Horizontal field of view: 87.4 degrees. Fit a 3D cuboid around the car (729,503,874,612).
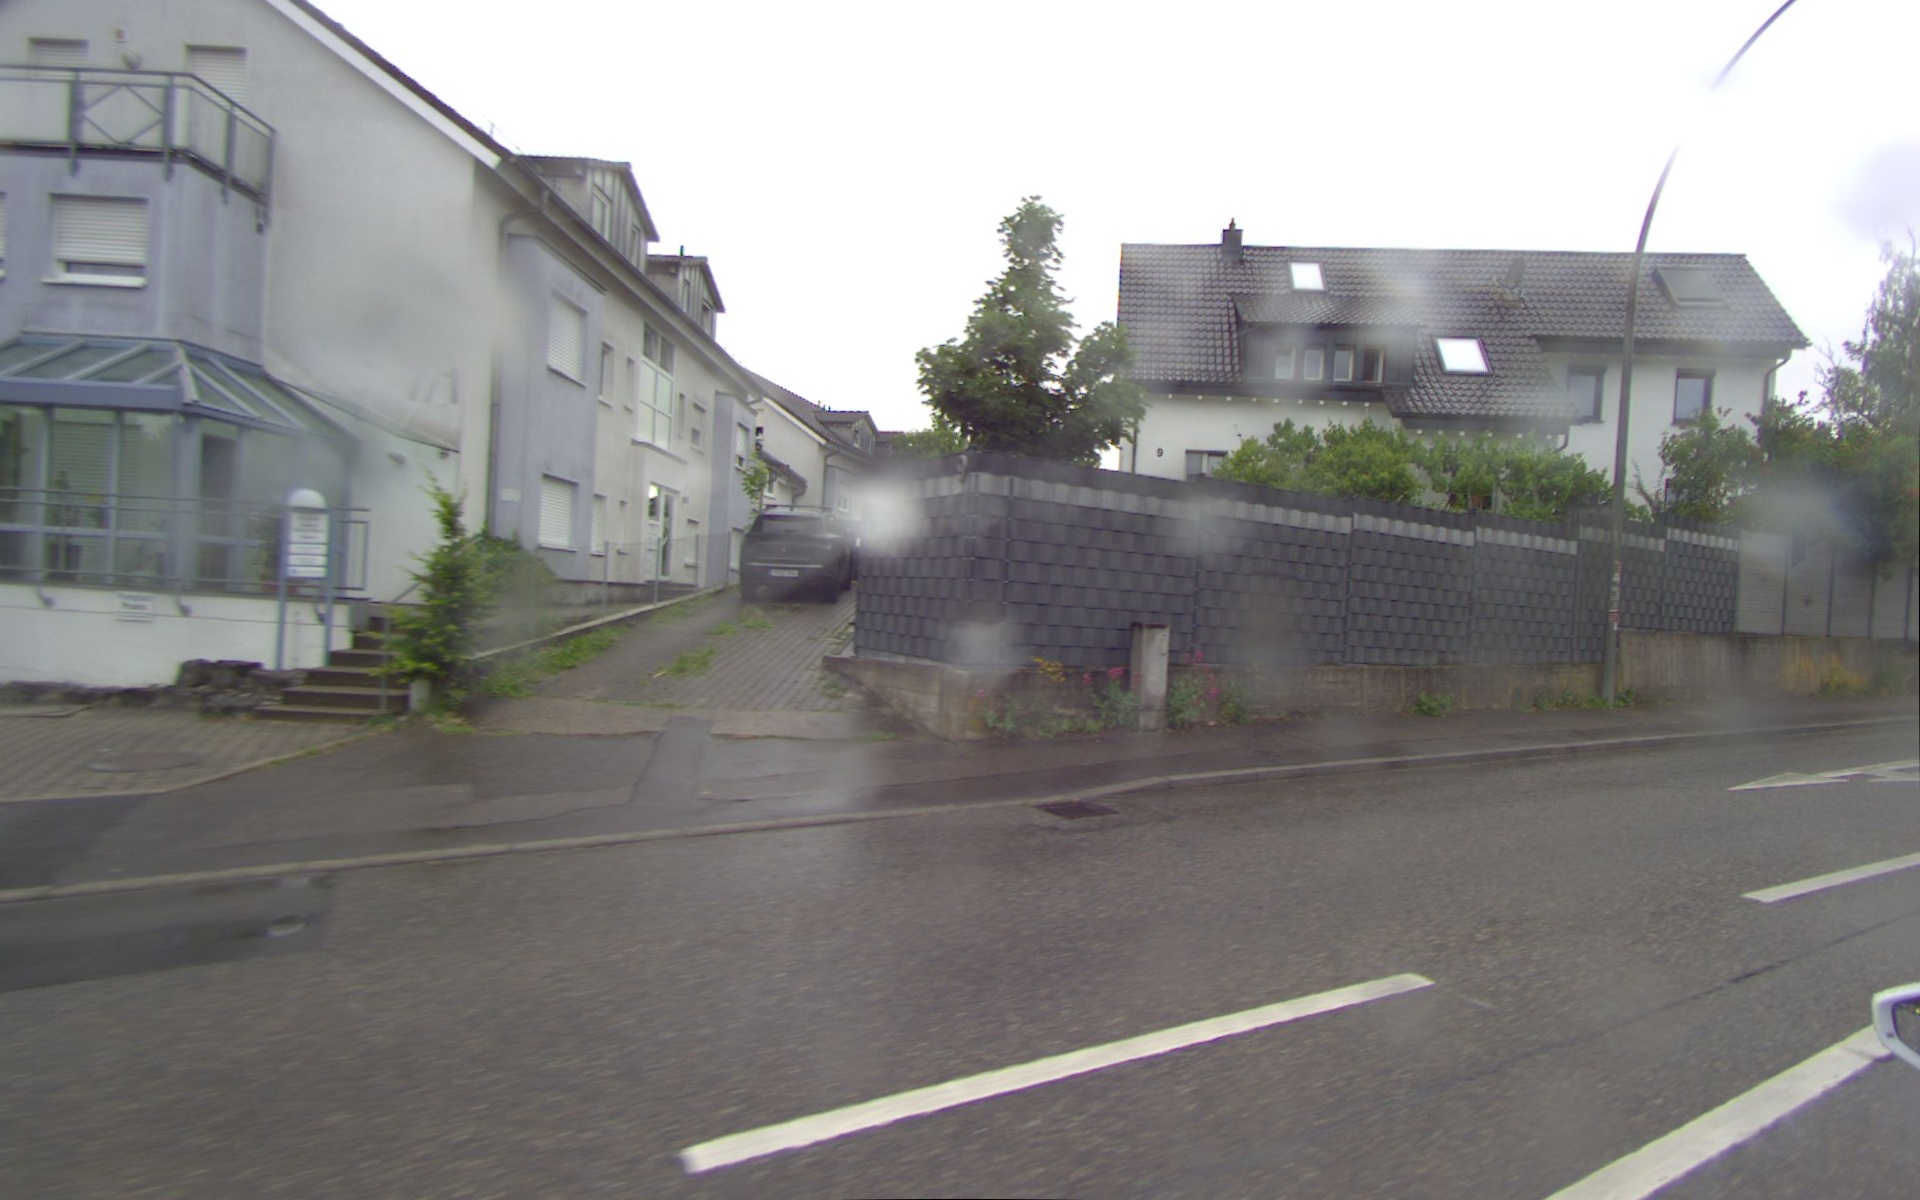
[{"bbox_3d":[-2.988,-0.953,19.818,1.960,1.806,3.999,3,6,3],"label":"car"}]
